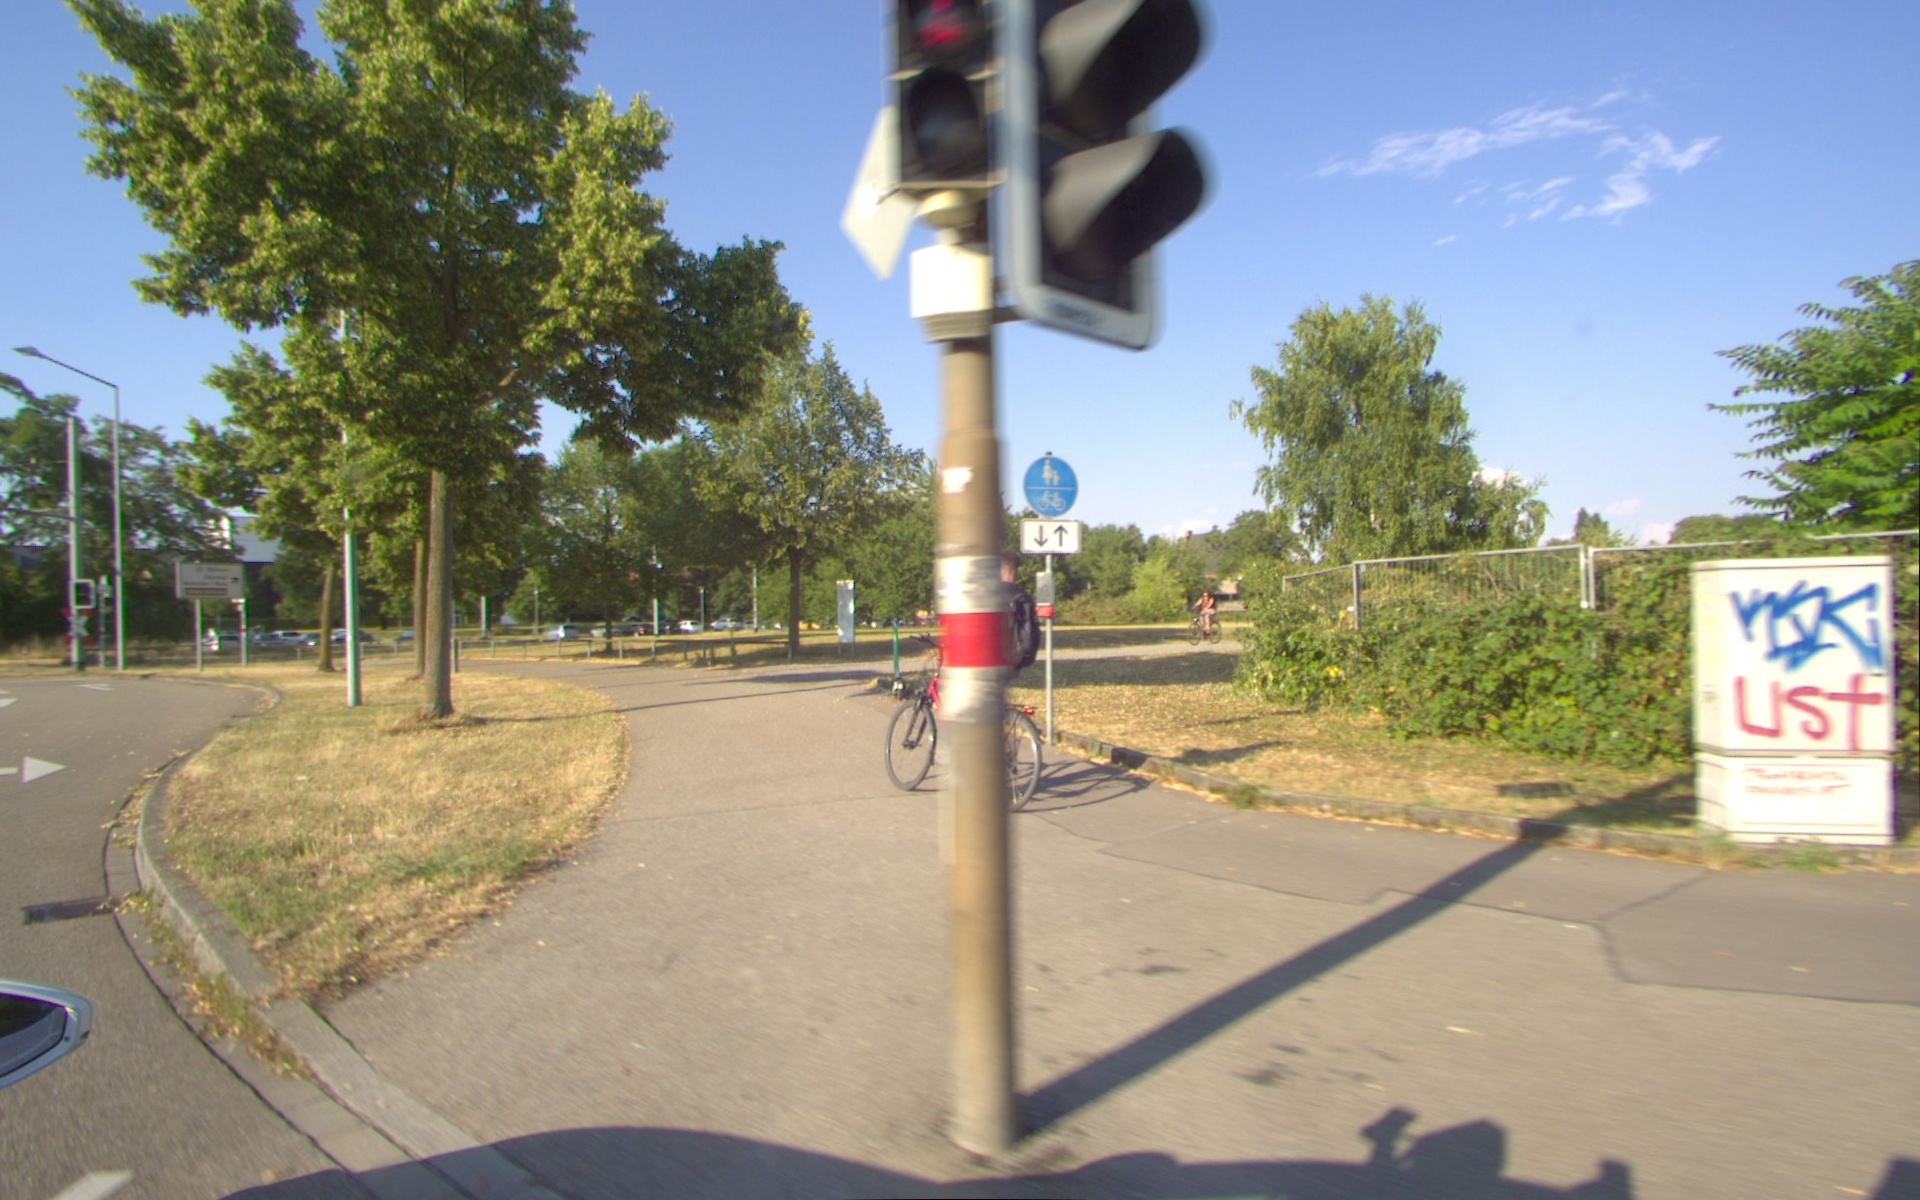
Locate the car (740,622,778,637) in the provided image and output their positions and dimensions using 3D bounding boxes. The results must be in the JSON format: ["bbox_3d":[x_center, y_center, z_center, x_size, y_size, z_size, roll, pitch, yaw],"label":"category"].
[{"bbox_3d":[-20.946,3.083,104.308,3.954,1.421,1.813,-2,-1,41],"label":"car"}]

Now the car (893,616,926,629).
[{"bbox_3d":[-6.202,2.761,123.164,3.954,1.421,1.813,-2,-1,41],"label":"car"}]

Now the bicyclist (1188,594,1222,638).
[{"bbox_3d":[7.833,0.520,31.958,0.968,1.381,0.555,-1,0,-37],"label":"bicyclist"}]

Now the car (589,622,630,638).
[{"bbox_3d":[-32.246,2.770,92.189,3.954,1.421,1.813,-2,-1,41],"label":"car"}]

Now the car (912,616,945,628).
[{"bbox_3d":[-3.938,2.811,125.267,3.954,1.421,1.813,-2,-1,41],"label":"car"}]

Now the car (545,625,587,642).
[{"bbox_3d":[-34.799,2.920,88.409,3.954,1.421,1.813,-2,-1,41],"label":"car"}]

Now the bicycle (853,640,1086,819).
[{"bbox_3d":[0.019,0.895,7.424,1.868,1.173,0.413,-1,0,39],"label":"bicycle"}]

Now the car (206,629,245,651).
[{"bbox_3d":[-51.018,2.781,69.534,1.591,1.420,3.929,-1,-1,-45],"label":"car"}]

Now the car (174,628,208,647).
[{"bbox_3d":[-59.765,2.906,77.800,1.591,1.420,3.929,-1,-1,-45],"label":"car"}]

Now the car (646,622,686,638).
[{"bbox_3d":[-28.178,2.867,95.801,3.954,1.421,1.813,-2,-1,41],"label":"car"}]

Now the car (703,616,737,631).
[{"bbox_3d":[-27.484,2.715,114.772,3.954,1.694,1.813,-2,-1,41],"label":"car"}]

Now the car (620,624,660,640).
[{"bbox_3d":[-30.023,3.039,93.944,3.954,1.421,1.813,-2,-1,41],"label":"car"}]

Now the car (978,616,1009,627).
[{"bbox_3d":[4.582,2.943,135.680,3.954,1.421,1.813,-2,-1,41],"label":"car"}]

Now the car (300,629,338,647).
[{"bbox_3d":[-47.305,2.829,73.891,1.591,1.236,3.929,0,-1,-45],"label":"car"}]

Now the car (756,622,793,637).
[{"bbox_3d":[-19.743,3.142,106.500,3.954,1.421,1.813,-2,-1,41],"label":"car"}]

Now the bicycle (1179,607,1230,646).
[{"bbox_3d":[7.777,0.835,31.877,1.805,1.172,0.488,-2,1,-35],"label":"bicycle"}]

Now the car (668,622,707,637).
[{"bbox_3d":[-26.668,2.875,97.874,3.954,1.421,1.813,-2,-1,41],"label":"car"}]

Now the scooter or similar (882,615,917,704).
[{"bbox_3d":[-0.880,0.835,14.412,0.336,1.175,1.169,-4,2,-8],"label":"scooter or similar"}]

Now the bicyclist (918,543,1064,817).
[{"bbox_3d":[0.225,0.544,7.265,0.820,1.854,0.616,0,2,41],"label":"bicyclist"}]

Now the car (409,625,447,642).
[{"bbox_3d":[-42.068,2.655,79.094,1.591,1.327,3.929,-1,-1,-45],"label":"car"}]

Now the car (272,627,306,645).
[{"bbox_3d":[-55.192,2.938,82.282,1.591,1.420,3.929,-1,-1,-45],"label":"car"}]
